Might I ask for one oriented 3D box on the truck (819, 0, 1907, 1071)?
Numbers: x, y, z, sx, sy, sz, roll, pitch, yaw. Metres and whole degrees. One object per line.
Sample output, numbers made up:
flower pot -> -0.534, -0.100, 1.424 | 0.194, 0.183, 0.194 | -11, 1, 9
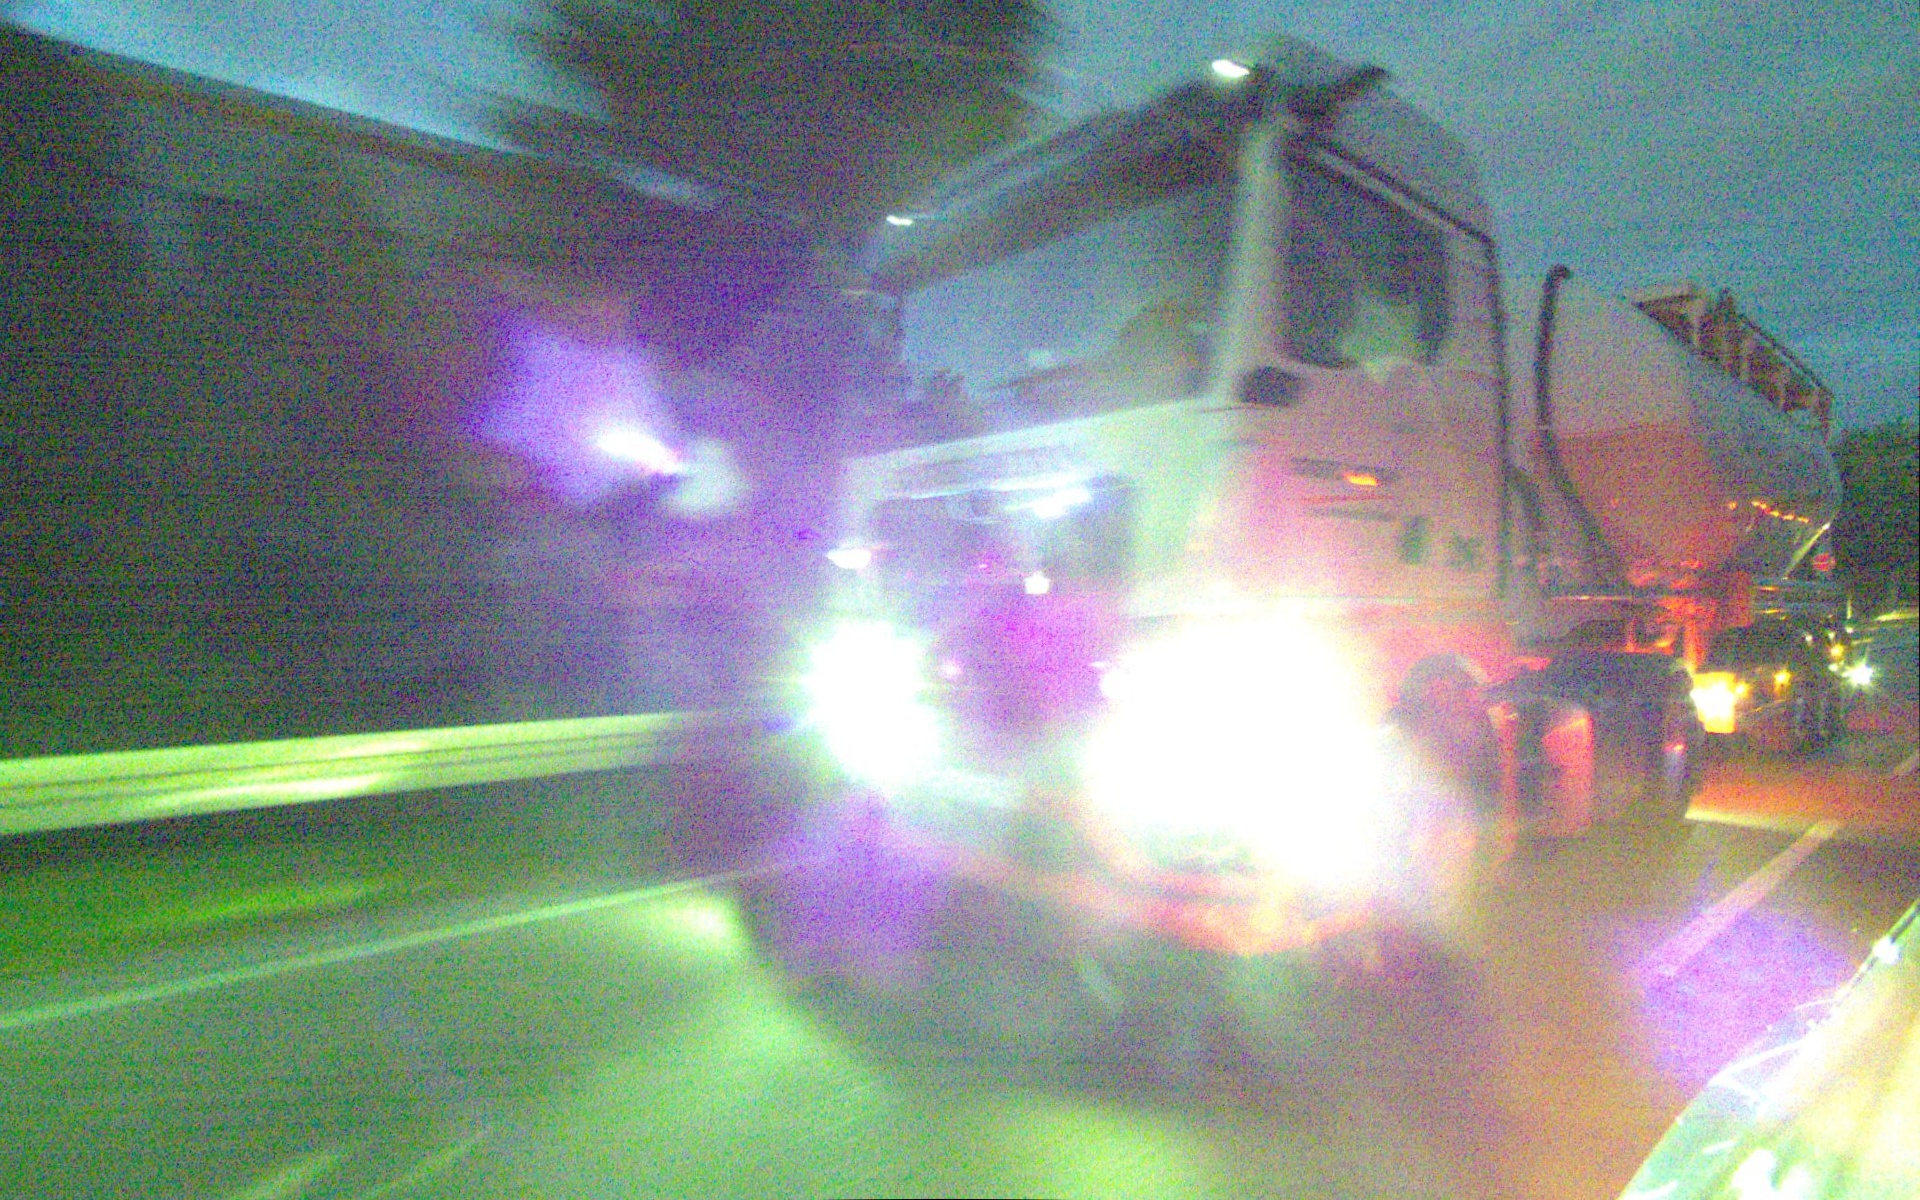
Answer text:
truck -> 5.033, -0.702, 8.293 | 12.911, 4.158, 2.692 | 0, 0, -41
